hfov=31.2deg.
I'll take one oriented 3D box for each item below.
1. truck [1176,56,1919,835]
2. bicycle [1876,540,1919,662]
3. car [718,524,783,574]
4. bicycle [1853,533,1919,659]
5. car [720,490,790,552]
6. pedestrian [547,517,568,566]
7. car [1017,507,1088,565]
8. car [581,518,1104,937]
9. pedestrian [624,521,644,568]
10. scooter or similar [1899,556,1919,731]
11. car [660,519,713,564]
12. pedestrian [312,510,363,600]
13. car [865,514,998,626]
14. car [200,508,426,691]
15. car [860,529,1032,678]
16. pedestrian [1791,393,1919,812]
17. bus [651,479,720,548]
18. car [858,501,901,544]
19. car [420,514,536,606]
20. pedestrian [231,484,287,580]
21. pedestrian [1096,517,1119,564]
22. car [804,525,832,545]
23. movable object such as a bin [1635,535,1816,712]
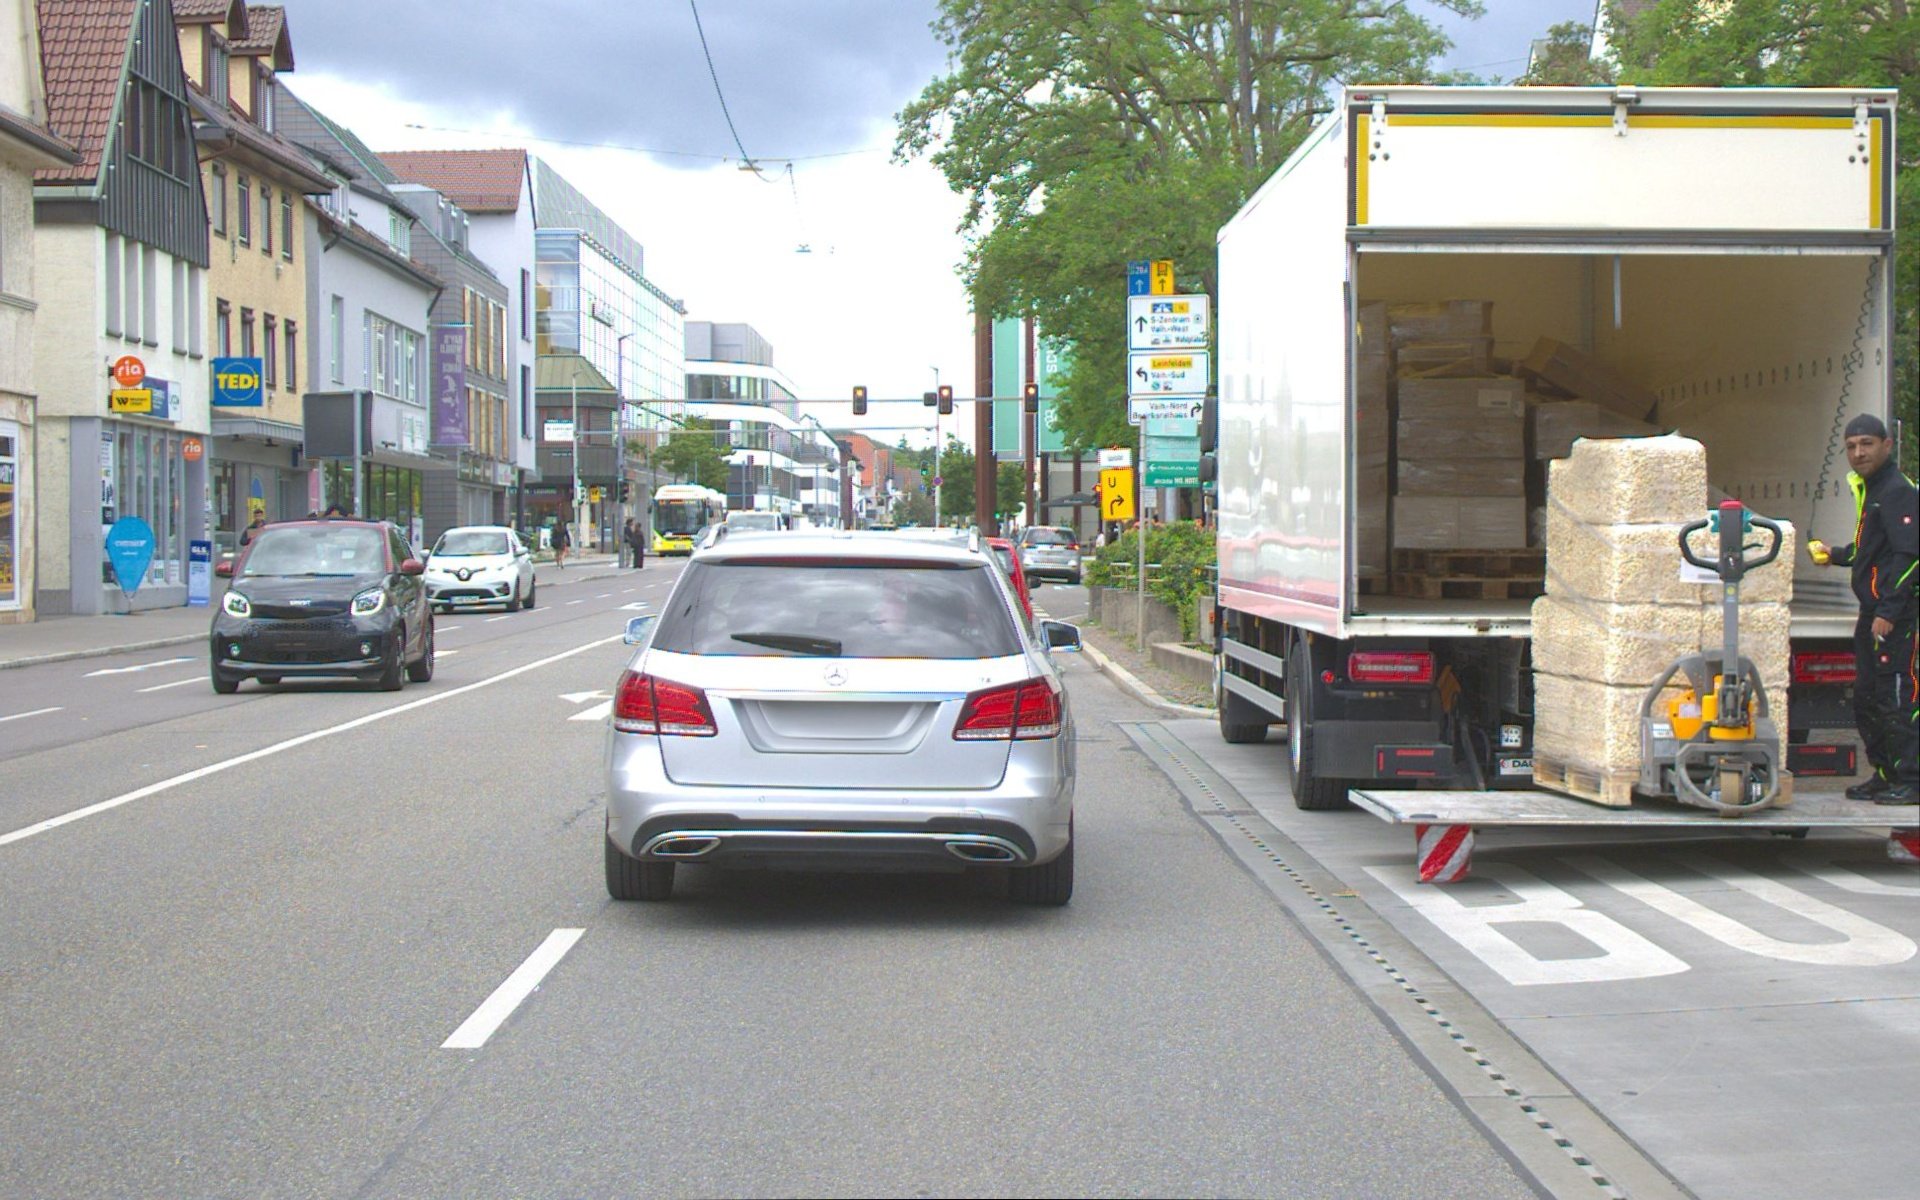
[{"bbox_3d":[2.984,-0.821,20.564,2.688,3.549,9.767,0,1,0],"label":"truck"},{"bbox_3d":[10.460,0.001,35.738,1.674,1.254,0.670,0,1,-4],"label":"bicycle"},{"bbox_3d":[-6.214,-1.539,102.292,1.617,1.423,3.923,-1,1,1],"label":"car"},{"bbox_3d":[10.544,-0.055,36.633,1.816,1.322,0.843,0,1,-4],"label":"bicycle"},{"bbox_3d":[-6.695,-2.581,112.757,1.961,1.954,5.140,-1,1,0],"label":"car"},{"bbox_3d":[-13.667,-1.986,116.808,0.586,1.629,0.615,3,1,-2],"label":"pedestrian"},{"bbox_3d":[2.704,-1.886,101.311,1.993,1.678,4.000,0,1,0],"label":"car"},{"bbox_3d":[-0.495,0.424,14.419,1.874,1.501,4.001,1,1,-2],"label":"car"},{"bbox_3d":[-11.611,-1.971,122.501,0.613,1.629,0.588,3,1,-2],"label":"pedestrian"},{"bbox_3d":[7.124,0.292,23.679,1.175,1.192,0.460,0,1,-9],"label":"scooter or similar"},{"bbox_3d":[-9.731,-2.097,122.424,1.617,1.518,3.508,-1,1,0],"label":"car"},{"bbox_3d":[-11.620,-0.845,64.169,0.816,1.629,0.980,2,1,-6],"label":"pedestrian"},{"bbox_3d":[-0.418,-0.499,53.490,1.993,1.678,4.000,0,1,0],"label":"car"},{"bbox_3d":[-5.836,-0.038,31.271,1.570,1.535,2.961,-2,1,-3],"label":"car"},{"bbox_3d":[-0.146,0.011,37.222,1.754,1.515,4.000,0,1,0],"label":"car"},{"bbox_3d":[3.994,0.007,14.880,0.613,1.774,0.588,-1,0,-4],"label":"pedestrian"},{"bbox_3d":[-12.876,-4.060,161.498,2.775,3.154,5.933,0,1,0],"label":"bus"},{"bbox_3d":[-3.822,-3.694,163.761,1.993,2.007,4.000,0,1,0],"label":"car"},{"bbox_3d":[-8.696,-0.717,62.291,1.639,1.562,3.927,-1,0,-2],"label":"car"},{"bbox_3d":[-13.058,-1.270,64.047,0.867,1.740,0.806,3,1,-5],"label":"pedestrian"},{"bbox_3d":[5.225,-2.105,121.833,0.613,1.629,0.588,3,1,-9],"label":"pedestrian"},{"bbox_3d":[-8.675,-3.968,210.157,1.575,1.240,3.607,0,1,0],"label":"car"},{"bbox_3d":[5.963,0.166,26.863,1.143,1.335,1.376,0,1,2],"label":"movable object such as a bin"}]
